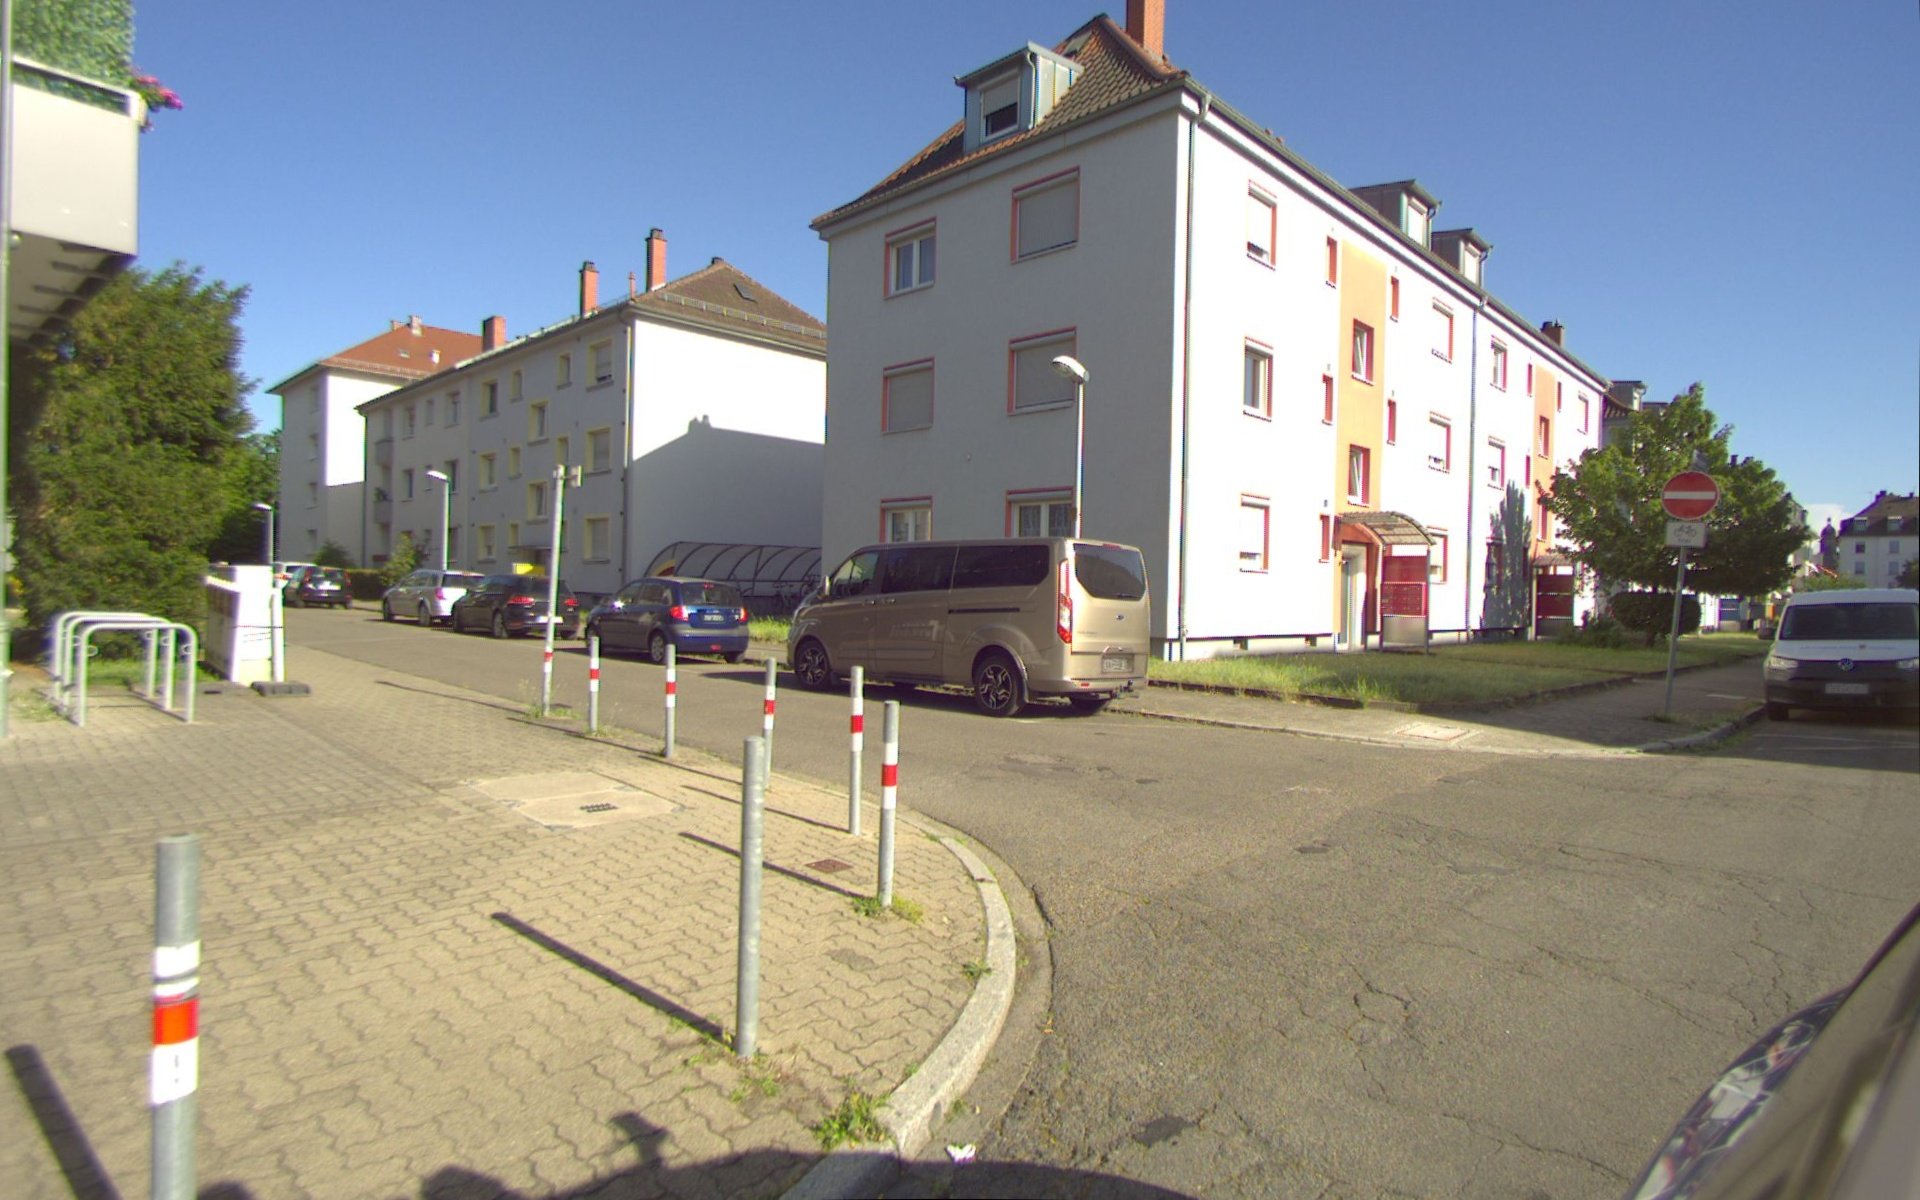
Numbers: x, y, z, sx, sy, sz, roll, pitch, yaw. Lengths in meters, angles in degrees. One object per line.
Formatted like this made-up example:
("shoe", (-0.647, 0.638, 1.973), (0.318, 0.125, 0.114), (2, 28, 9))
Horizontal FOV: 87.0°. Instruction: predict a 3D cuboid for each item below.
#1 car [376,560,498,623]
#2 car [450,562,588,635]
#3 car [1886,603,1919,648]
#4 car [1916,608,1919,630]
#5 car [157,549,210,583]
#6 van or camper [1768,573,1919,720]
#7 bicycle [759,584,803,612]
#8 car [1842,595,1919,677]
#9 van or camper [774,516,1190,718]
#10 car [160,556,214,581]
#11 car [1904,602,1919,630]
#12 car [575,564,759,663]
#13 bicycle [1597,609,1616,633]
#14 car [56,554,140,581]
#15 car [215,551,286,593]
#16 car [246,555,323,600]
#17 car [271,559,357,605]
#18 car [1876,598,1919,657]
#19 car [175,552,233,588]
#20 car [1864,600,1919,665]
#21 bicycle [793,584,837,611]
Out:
("car", (-13.880, -0.240, 26.761), (4.069, 1.473, 1.653), (3, 0, 45))
("car", (-10.063, -0.056, 23.008), (3.475, 1.473, 1.653), (3, 0, 45))
("car", (36.563, 0.975, 38.578), (1.728, 1.626, 4.352), (3, 1, 44))
("car", (75.075, 1.488, 78.125), (1.705, 1.590, 4.658), (3, 2, 45))
("car", (-43.106, -1.891, 56.129), (4.232, 1.716, 1.712), (3, 0, 45))
("van or camper", (12.848, 0.583, 14.248), (1.792, 1.770, 4.658), (-2, -2, 45))
("bicycle", (-5.866, -0.076, 33.062), (0.498, 0.790, 1.828), (1, 3, -43))
("car", (20.024, 0.741, 21.638), (1.616, 1.569, 3.558), (4, 2, 40))
("van or camper", (0.079, 0.128, 12.661), (5.121, 2.039, 1.969), (2, -1, 42))
("car", (-55.183, -2.251, 72.279), (1.388, 1.648, 2.895), (4, 3, 43))
("car", (70.742, 1.194, 74.245), (1.950, 1.924, 4.687), (2, 2, 45))
("car", (-5.275, 0.178, 18.021), (3.475, 1.549, 1.653), (3, 2, 45))
("bicycle", (27.136, 0.876, 42.475), (1.261, 0.957, 0.319), (1, 2, -44))
("car", (-58.899, -2.208, 69.224), (4.232, 1.694, 1.995), (1, 3, -45))
("car", (-30.024, -1.204, 42.777), (4.232, 1.594, 1.653), (3, 0, 45))
("car", (-26.153, -0.880, 39.144), (4.069, 1.594, 1.653), (3, 0, 45))
("car", (-22.871, -0.654, 35.773), (4.069, 1.473, 1.653), (3, 0, 45))
("car", (29.321, 0.819, 31.026), (1.774, 1.741, 4.241), (-1, -1, 42))
("car", (-38.735, -1.558, 51.809), (4.232, 1.716, 1.712), (3, 0, 45))
("car", (23.161, 0.795, 24.656), (1.628, 1.468, 3.890), (2, 0, 43))
("bicycle", (-4.926, -0.098, 34.223), (0.498, 0.790, 1.828), (1, 3, -43))
